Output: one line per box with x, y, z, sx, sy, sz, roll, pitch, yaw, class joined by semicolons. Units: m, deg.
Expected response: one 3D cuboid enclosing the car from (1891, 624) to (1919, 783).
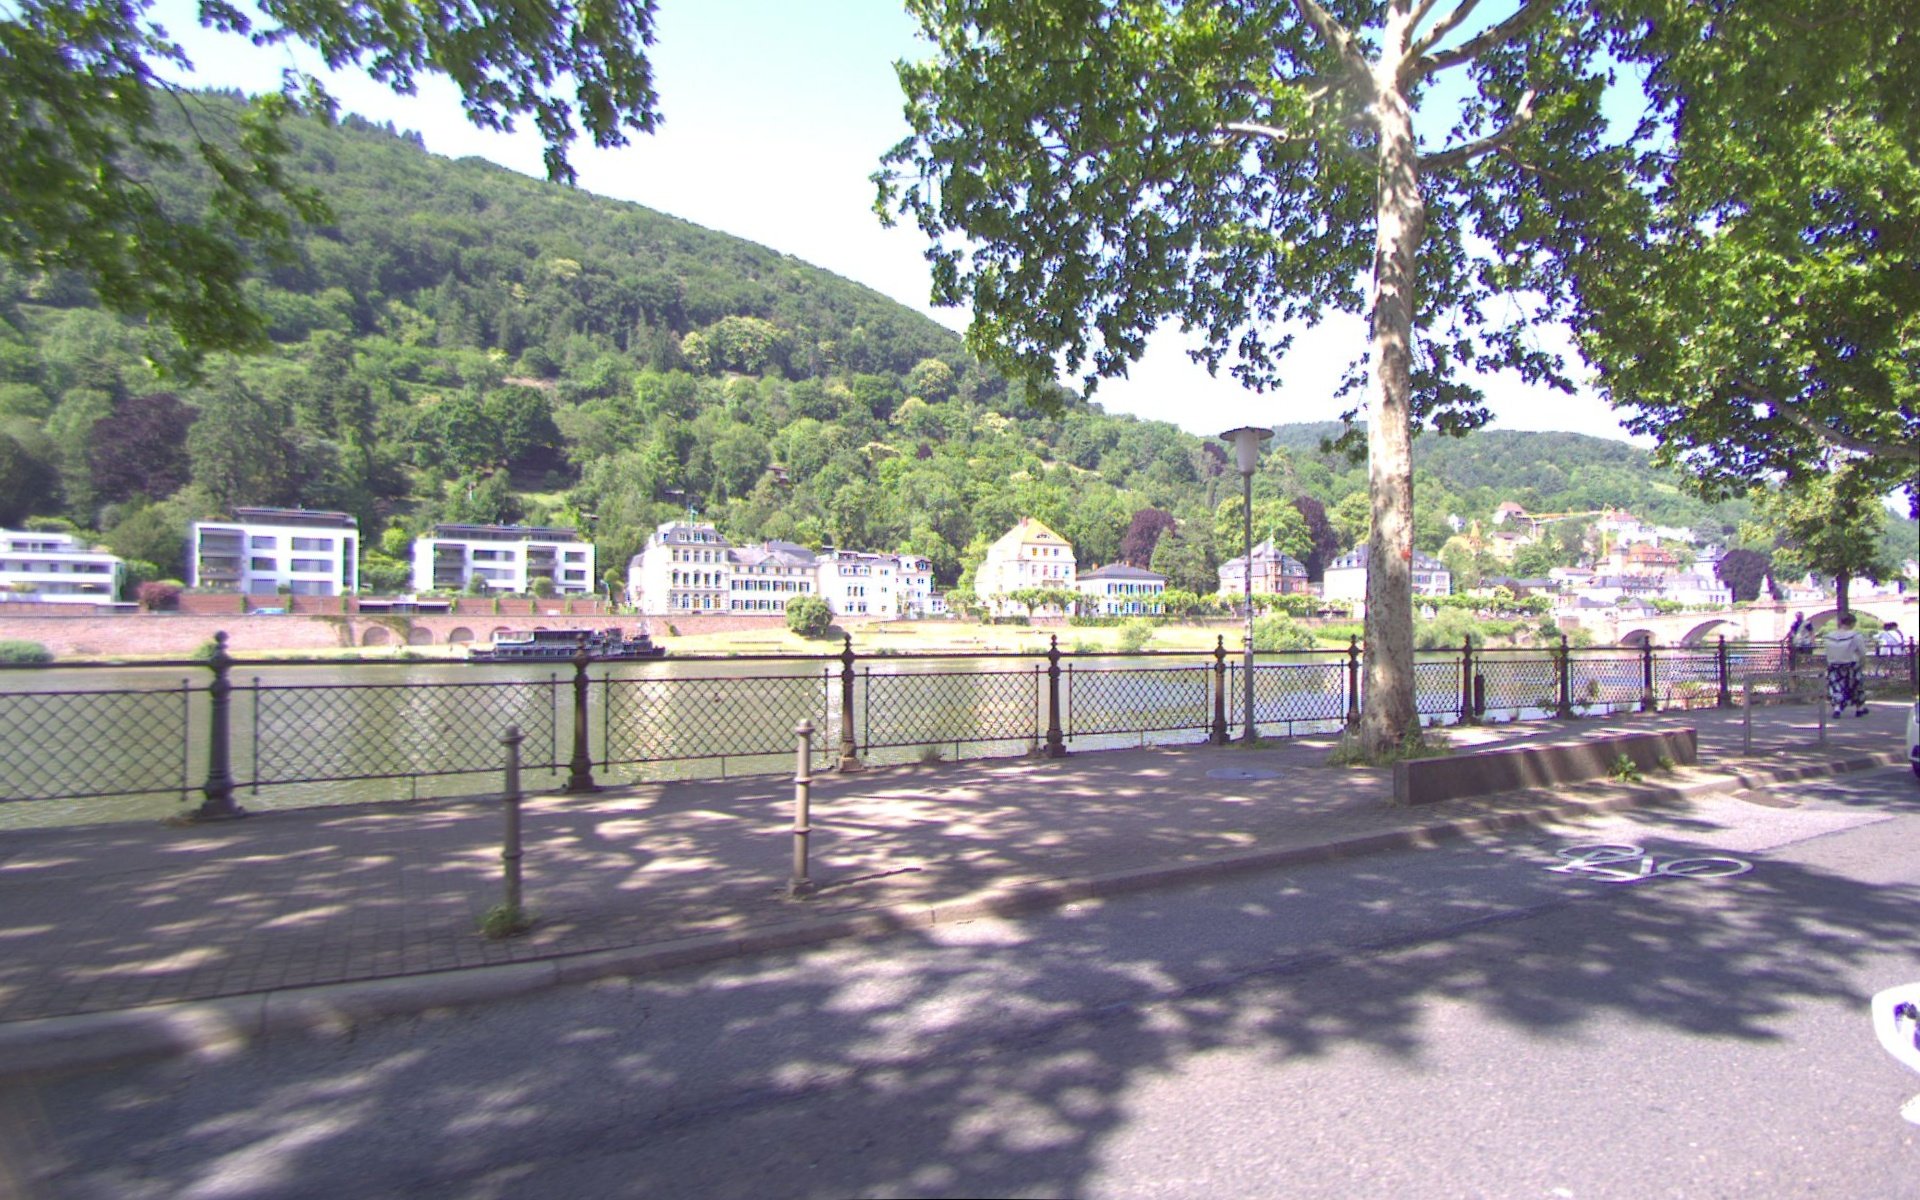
10.944;0.968;9.819;4.045;1.464;1.692;0;0;-32;car

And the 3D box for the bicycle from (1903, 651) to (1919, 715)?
15.999;1.308;16.031;1.927;0.992;0.752;0;-1;-26;bicycle

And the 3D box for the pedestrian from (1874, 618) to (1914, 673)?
28.244;1.381;30.380;0.654;1.637;0.692;1;-1;-22;pedestrian

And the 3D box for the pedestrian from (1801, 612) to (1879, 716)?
14.017;1.007;16.006;0.688;1.607;0.758;1;-1;-31;pedestrian

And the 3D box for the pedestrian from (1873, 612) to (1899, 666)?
27.807;1.167;30.167;0.444;1.618;0.413;1;-1;-22;pedestrian

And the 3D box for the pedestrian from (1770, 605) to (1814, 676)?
23.388;1.138;28.236;0.876;1.971;0.690;1;-1;-31;pedestrian
